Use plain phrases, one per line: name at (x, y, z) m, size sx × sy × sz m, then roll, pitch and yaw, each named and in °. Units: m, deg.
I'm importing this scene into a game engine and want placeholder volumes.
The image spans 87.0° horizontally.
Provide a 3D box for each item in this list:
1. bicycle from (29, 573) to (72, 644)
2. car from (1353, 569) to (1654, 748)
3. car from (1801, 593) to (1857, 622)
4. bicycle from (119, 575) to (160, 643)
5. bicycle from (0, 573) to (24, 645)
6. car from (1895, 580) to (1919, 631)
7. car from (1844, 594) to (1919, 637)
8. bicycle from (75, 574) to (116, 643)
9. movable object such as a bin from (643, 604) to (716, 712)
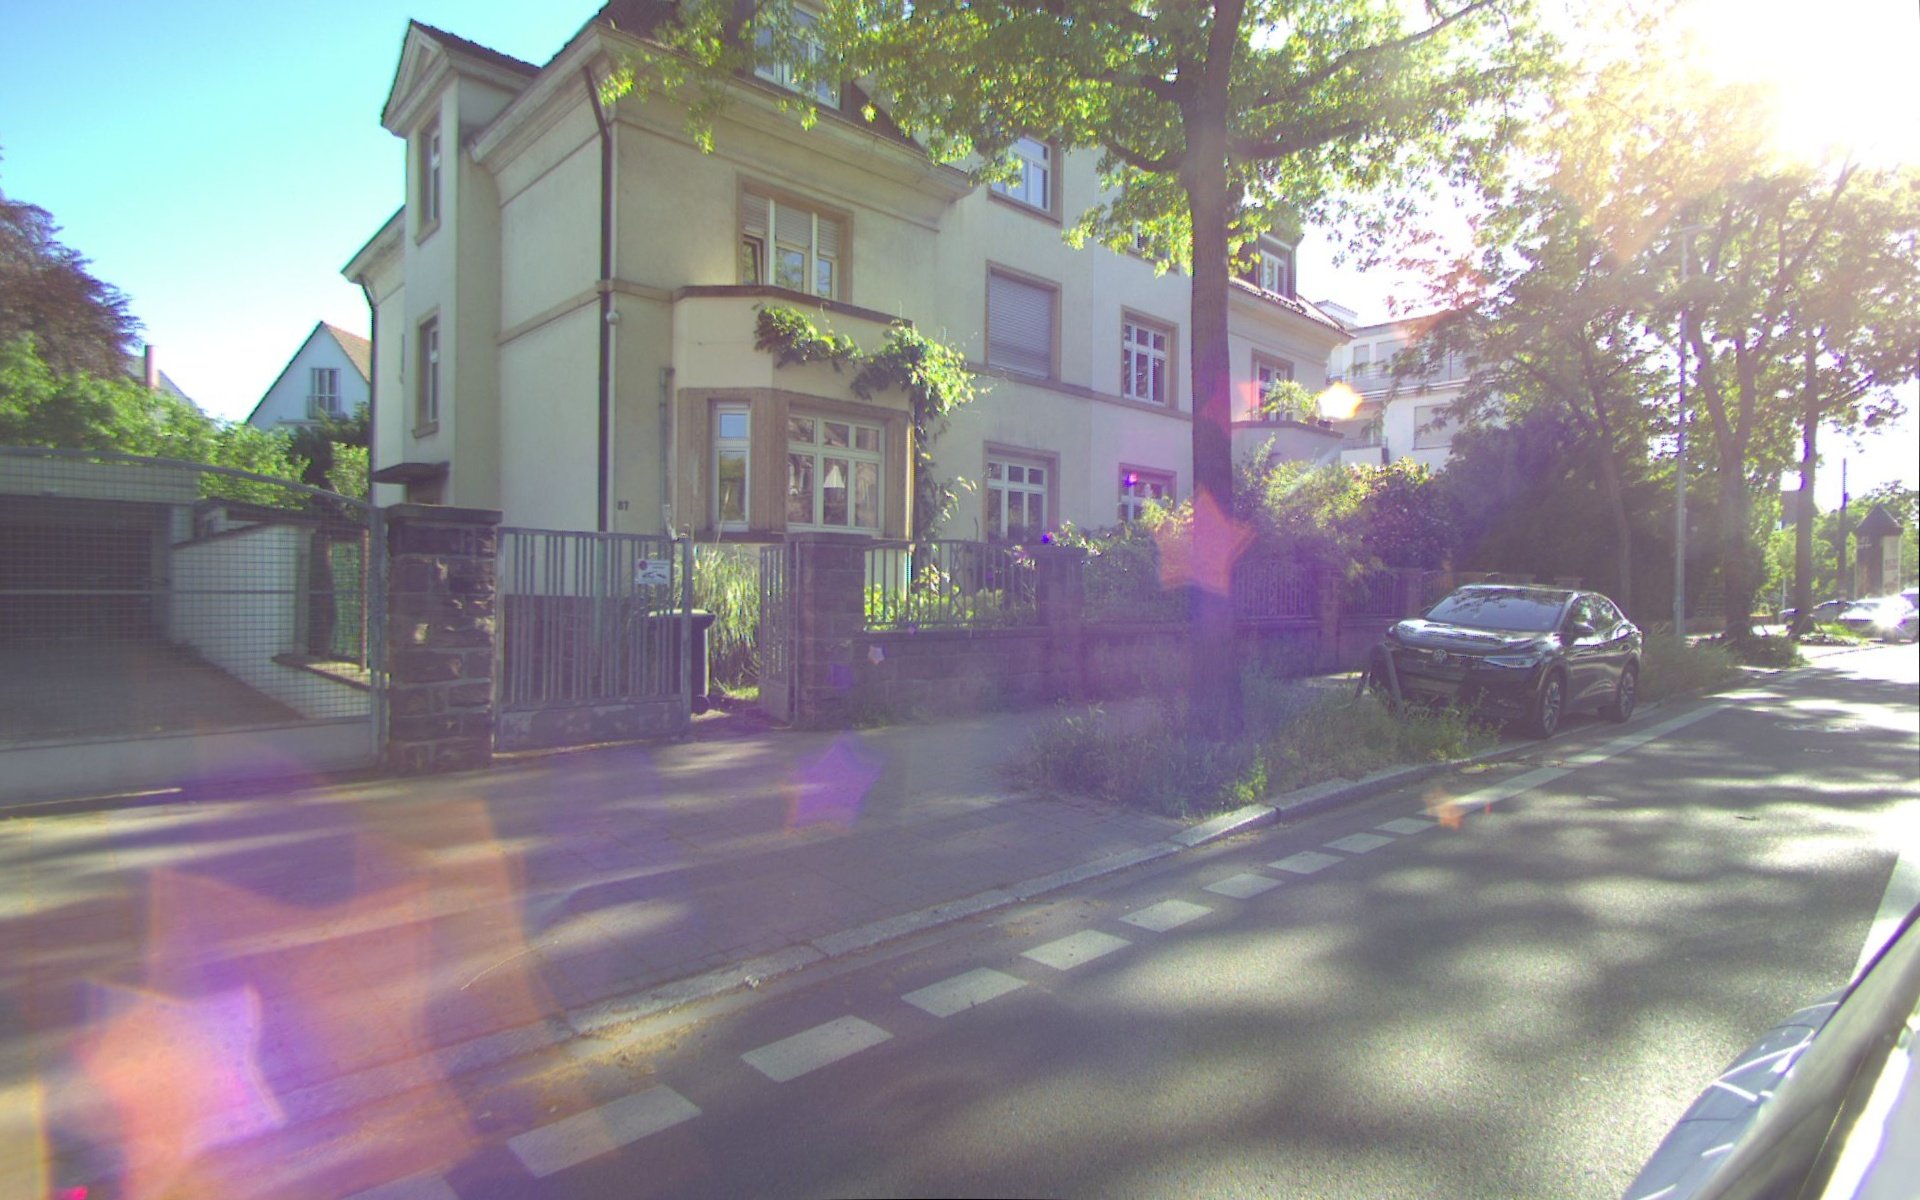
bicycle at (-15.276, 0.133, 17.016) m, size 0.512 × 1.136 × 1.464 m, roll 0°, pitch 0°, yaw -41°
car at (6.629, 0.555, 12.153) m, size 4.101 × 1.765 × 1.995 m, roll -1°, pitch 0°, yaw -43°
car at (46.879, 0.380, 54.566) m, size 3.930 × 1.460 × 1.739 m, roll -1°, pitch 0°, yaw -41°
bicycle at (-14.367, 0.143, 17.706) m, size 0.512 × 1.136 × 1.464 m, roll 0°, pitch 0°, yaw -41°
bicycle at (-15.774, 0.139, 16.634) m, size 0.512 × 1.136 × 1.464 m, roll 0°, pitch 0°, yaw -41°
car at (36.660, 0.165, 37.812) m, size 4.171 × 1.852 × 1.904 m, roll -1°, pitch 0°, yaw -38°
car at (31.474, 0.487, 34.241) m, size 3.847 × 1.356 × 1.719 m, roll -1°, pitch 0°, yaw -39°
bicycle at (-14.851, 0.127, 17.386) m, size 0.512 × 1.136 × 1.464 m, roll 0°, pitch 0°, yaw -41°
movable object such as a bin at (-2.993, 0.588, 10.783) m, size 0.712 × 1.068 × 0.969 m, roll 0°, pitch 0°, yaw -17°
